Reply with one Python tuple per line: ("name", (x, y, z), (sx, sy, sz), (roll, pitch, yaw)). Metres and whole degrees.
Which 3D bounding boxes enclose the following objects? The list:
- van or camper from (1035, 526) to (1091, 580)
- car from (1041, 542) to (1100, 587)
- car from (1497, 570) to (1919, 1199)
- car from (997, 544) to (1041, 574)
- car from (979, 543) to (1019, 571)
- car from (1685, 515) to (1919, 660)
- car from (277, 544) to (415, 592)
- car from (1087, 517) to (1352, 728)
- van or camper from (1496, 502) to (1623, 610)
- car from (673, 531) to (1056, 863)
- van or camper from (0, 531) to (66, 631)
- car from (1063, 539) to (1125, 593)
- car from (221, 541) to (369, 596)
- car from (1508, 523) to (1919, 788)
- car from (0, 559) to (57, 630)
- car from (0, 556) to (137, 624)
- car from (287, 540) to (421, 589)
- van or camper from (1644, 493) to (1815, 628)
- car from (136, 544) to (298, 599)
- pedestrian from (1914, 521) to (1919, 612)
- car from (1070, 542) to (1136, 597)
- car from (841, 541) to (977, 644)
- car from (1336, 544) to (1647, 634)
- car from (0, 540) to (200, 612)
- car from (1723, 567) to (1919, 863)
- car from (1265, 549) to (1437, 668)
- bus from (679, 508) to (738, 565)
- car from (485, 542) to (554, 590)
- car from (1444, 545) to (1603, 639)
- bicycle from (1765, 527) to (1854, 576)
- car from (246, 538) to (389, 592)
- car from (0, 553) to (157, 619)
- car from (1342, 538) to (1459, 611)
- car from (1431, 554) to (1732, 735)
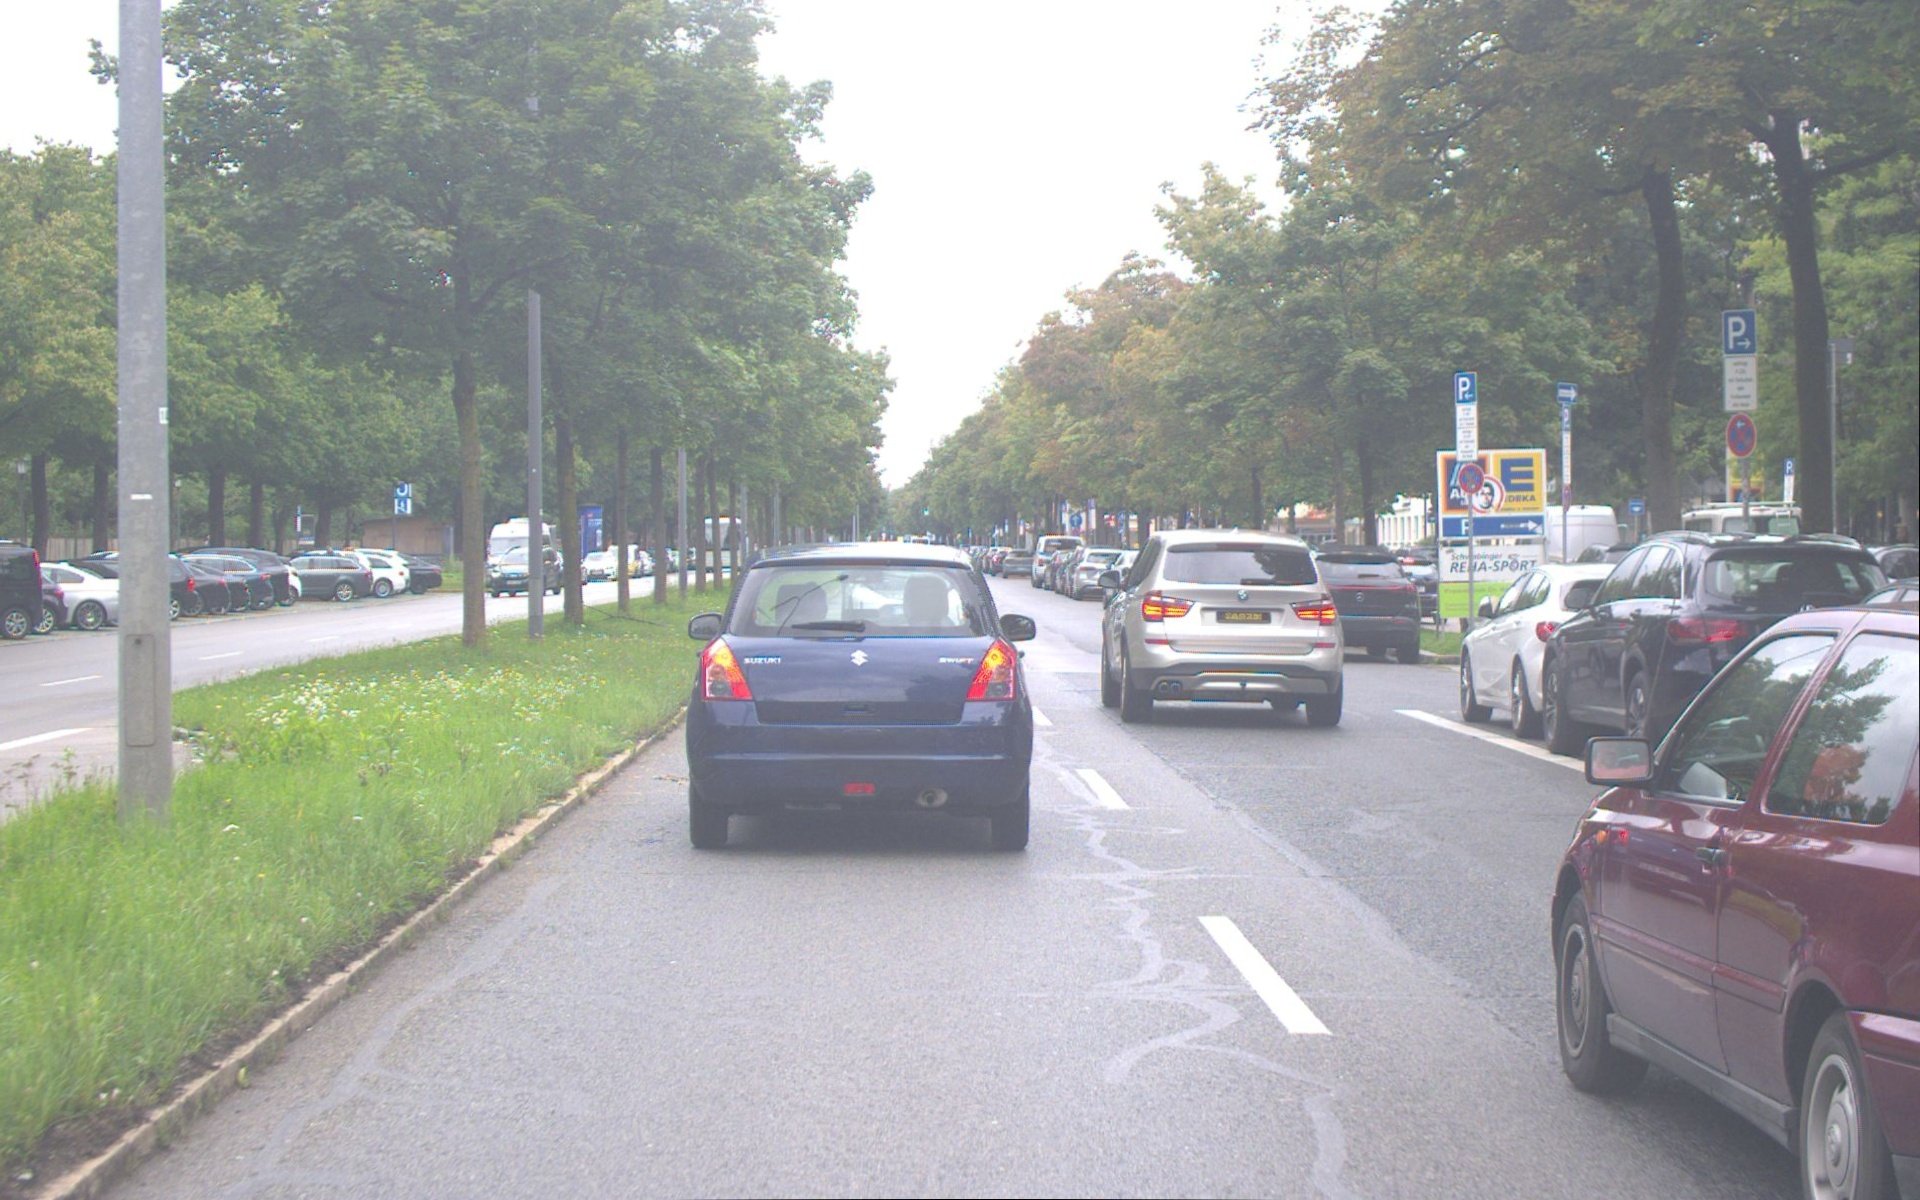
("van or camper", (3.801, -1.752, 127.935), (1.944, 1.968, 4.306), (0, 1, 0))
("car", (3.875, -1.265, 121.574), (1.684, 1.548, 4.307), (0, 1, -3))
("car", (2.451, 0.670, 8.194), (1.622, 1.449, 3.950), (0, 1, -2))
("car", (2.848, -1.987, 166.302), (1.850, 1.442, 4.098), (0, 1, -3))
("car", (2.031, -2.272, 180.141), (1.850, 1.442, 4.098), (0, 1, -3))
("car", (10.636, -0.173, 41.118), (1.971, 1.619, 4.836), (1, 1, 37))
("car", (-20.416, -1.076, 114.428), (4.095, 1.579, 1.919), (-1, 1, -34))
("car", (2.210, 0.151, 30.300), (1.850, 1.737, 4.098), (0, 1, -3))
("van or camper", (14.682, -1.103, 84.497), (2.024, 2.549, 5.957), (0, 1, -1))
("car", (-0.536, 0.421, 18.071), (1.789, 1.550, 4.001), (0, 1, -3))
("van or camper", (-19.005, -0.358, 64.093), (4.114, 1.848, 1.849), (-1, 1, -41))
("car", (4.110, -1.063, 106.077), (1.684, 1.620, 4.306), (1, 1, 0))
("car", (-20.768, -1.003, 107.429), (4.095, 1.689, 1.919), (-1, 1, -34))
("car", (5.147, 0.309, 23.967), (1.786, 1.669, 4.596), (0, 1, -2))
("car", (-19.609, -0.109, 66.911), (3.568, 1.349, 1.754), (-1, 1, -31))
("car", (-19.151, -0.221, 70.590), (3.987, 1.349, 1.850), (-1, 1, -35))
("car", (-20.689, -1.228, 117.448), (4.095, 1.647, 1.919), (-1, 1, -34))
("van or camper", (15.116, -0.795, 67.854), (1.993, 2.549, 5.957), (0, 1, -1))
("car", (-21.161, -0.824, 97.940), (4.094, 1.496, 1.919), (-1, 1, -31))
("pedestrian", (18.755, -0.646, 66.250), (0.575, 1.745, 0.732), (0, 1, 4))
("car", (4.158, -0.903, 100.372), (1.684, 1.520, 4.456), (1, 1, 0))
("car", (-0.778, -0.138, 49.960), (1.850, 1.442, 4.098), (0, 1, -3))
("car", (8.766, -0.204, 56.728), (4.828, 1.449, 1.688), (0, 1, 22))
("car", (-19.794, -0.568, 79.078), (4.096, 1.591, 1.919), (-1, 1, -40))
("car", (5.497, 0.552, 18.629), (1.633, 1.434, 4.305), (0, 1, -2))
("car", (5.463, 0.081, 48.549), (1.761, 1.584, 4.453), (0, 1, -2))
("bus", (-15.605, -3.952, 214.181), (2.738, 3.366, 12.013), (-2, 1, 0))
("car", (-14.632, -1.151, 114.281), (1.913, 1.537, 4.188), (0, 1, -2))
("car", (9.527, -0.161, 58.372), (1.763, 1.483, 4.001), (2, 1, -4))
("bicycle", (26.710, -1.526, 108.139), (2.609, 1.503, 0.798), (0, 1, -7))
("car", (-20.675, -1.145, 110.626), (4.095, 1.689, 1.919), (-1, 1, -34))
("car", (-19.488, -0.317, 73.801), (4.031, 1.377, 1.674), (-1, 1, -36))
("car", (9.074, -0.541, 71.151), (1.747, 1.474, 4.009), (0, 1, -2))
("car", (5.263, 0.327, 29.648), (1.653, 1.429, 4.483), (0, 1, -2))
